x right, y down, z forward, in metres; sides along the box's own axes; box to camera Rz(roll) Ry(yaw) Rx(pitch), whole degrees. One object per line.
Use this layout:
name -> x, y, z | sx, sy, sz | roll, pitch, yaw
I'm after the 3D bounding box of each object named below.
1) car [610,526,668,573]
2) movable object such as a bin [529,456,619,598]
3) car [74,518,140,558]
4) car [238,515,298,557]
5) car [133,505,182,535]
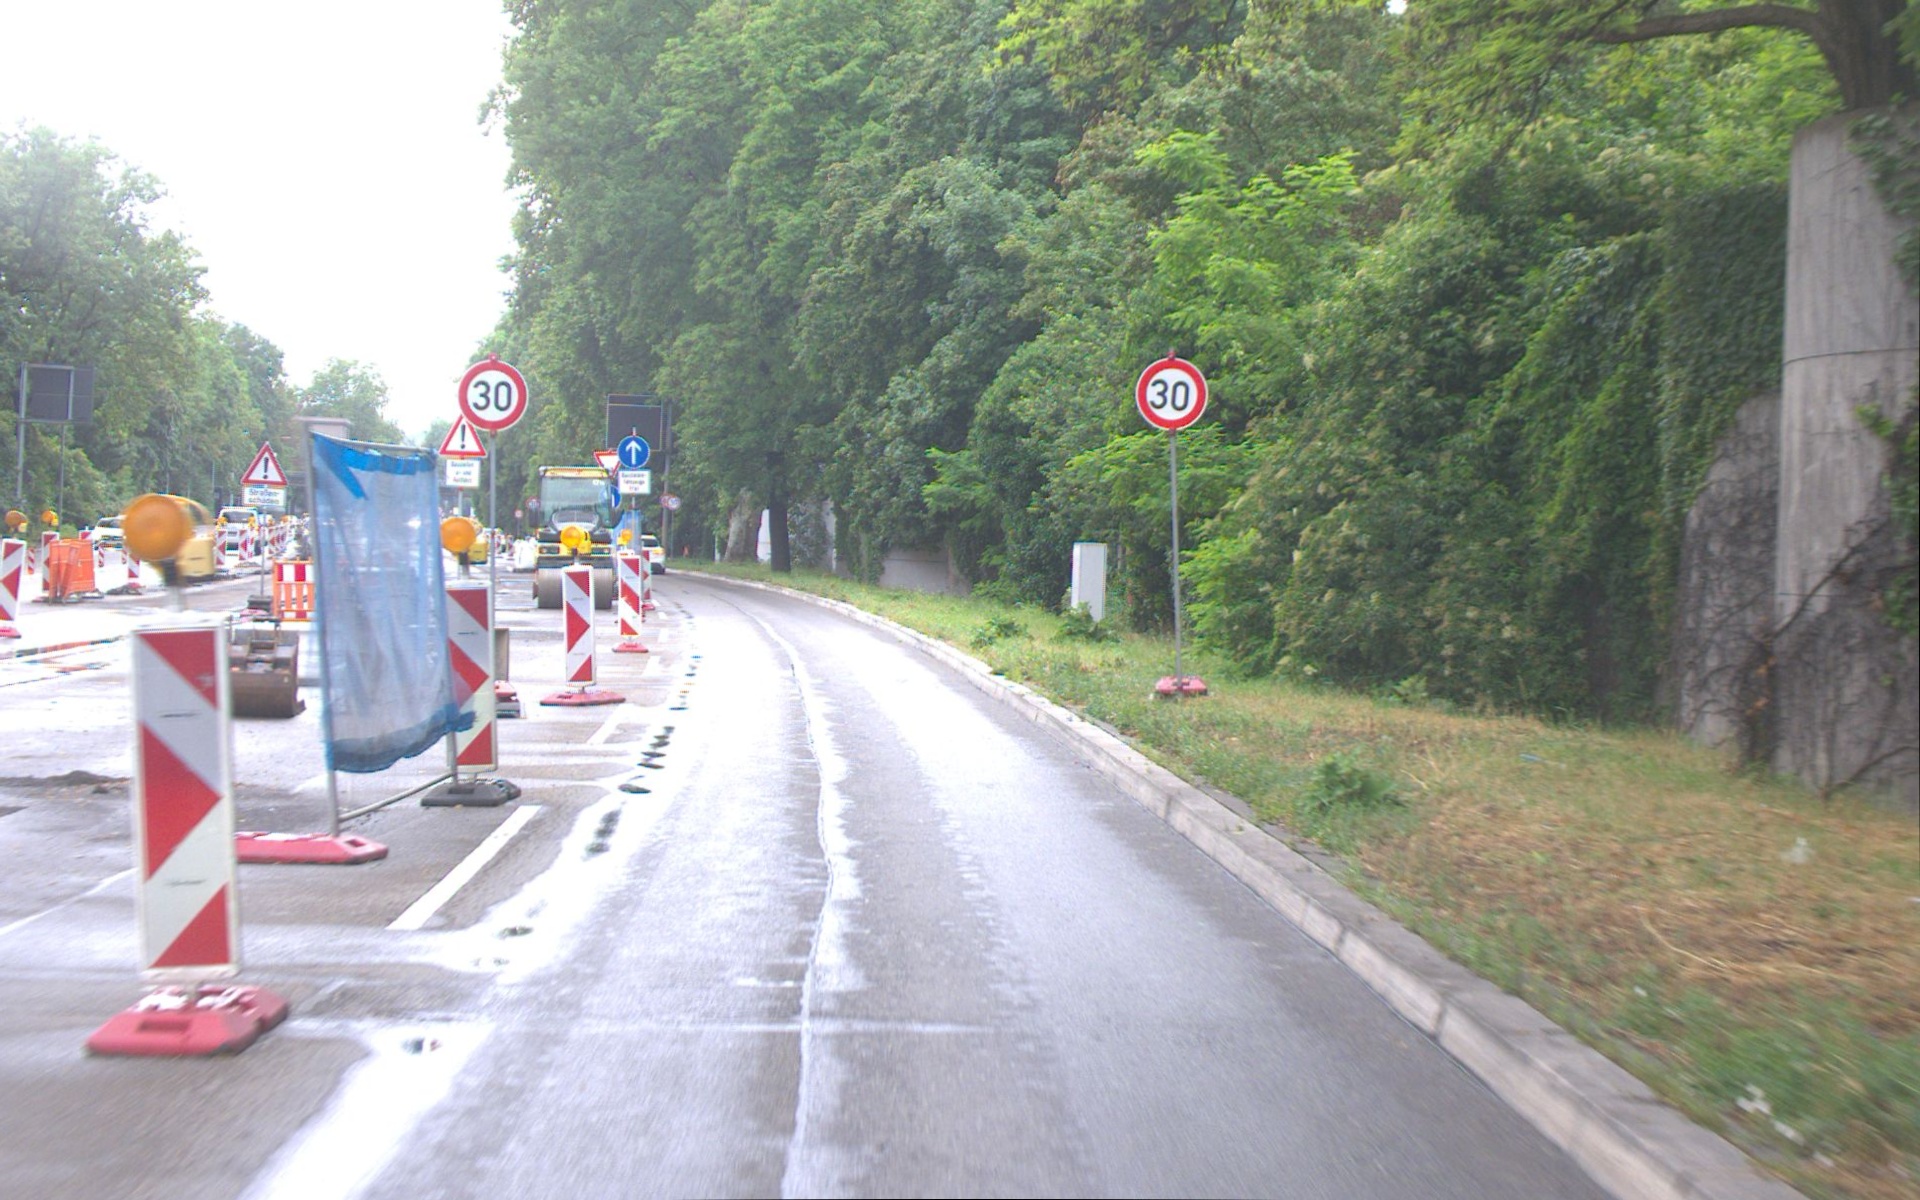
car -> -11.887, -1.905, 127.645 | 1.914, 1.592, 4.835 | 2, 2, -3
movable object such as a bin -> -8.018, -1.519, 71.614 | 1.746, 2.857, 3.535 | 1, 1, -5
car -> -36.857, -2.677, 148.662 | 1.927, 1.659, 4.653 | 1, 1, -3
car -> -30.219, -2.799, 150.230 | 1.927, 1.772, 4.653 | 1, 1, -3
car -> -46.040, -4.584, 197.373 | 1.927, 1.659, 4.653 | 1, 1, -3
